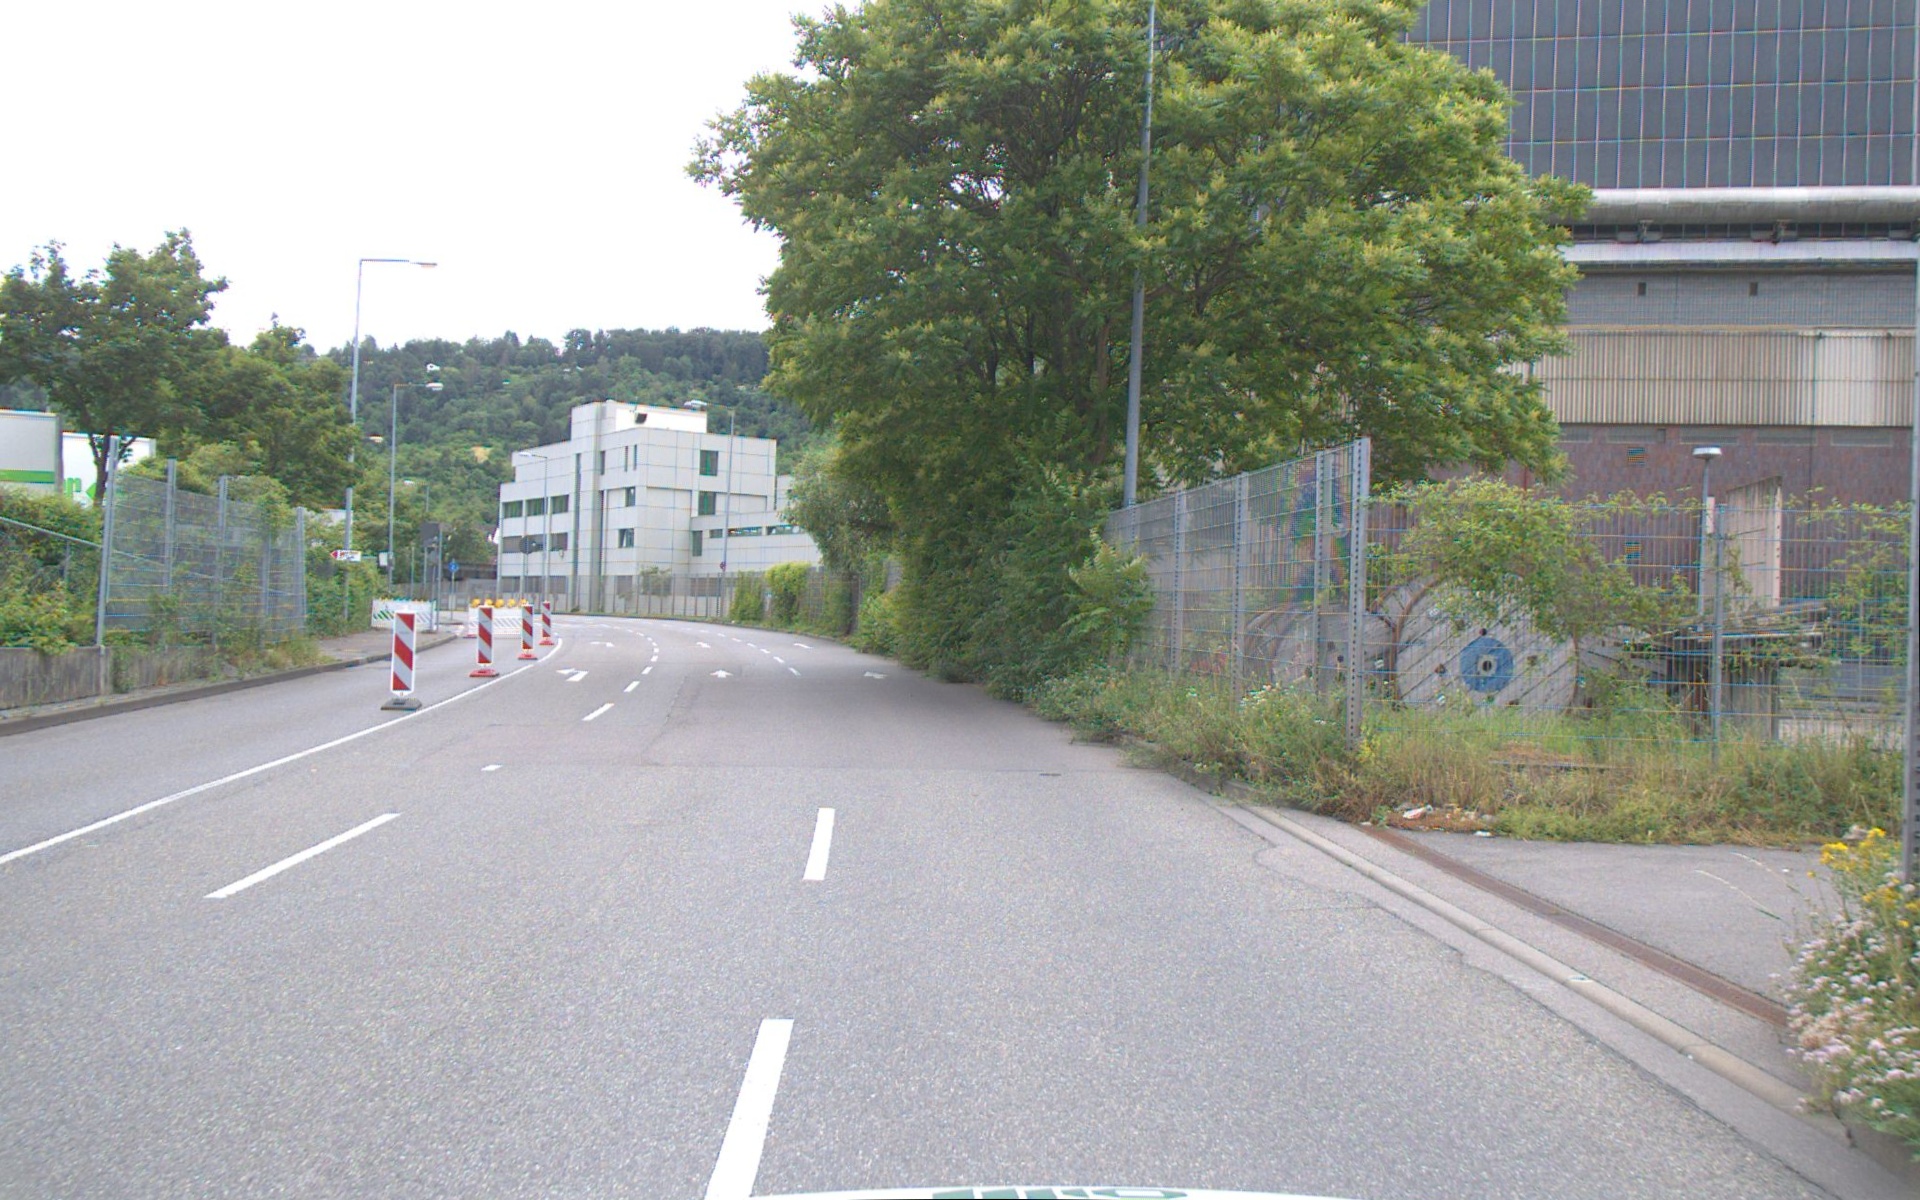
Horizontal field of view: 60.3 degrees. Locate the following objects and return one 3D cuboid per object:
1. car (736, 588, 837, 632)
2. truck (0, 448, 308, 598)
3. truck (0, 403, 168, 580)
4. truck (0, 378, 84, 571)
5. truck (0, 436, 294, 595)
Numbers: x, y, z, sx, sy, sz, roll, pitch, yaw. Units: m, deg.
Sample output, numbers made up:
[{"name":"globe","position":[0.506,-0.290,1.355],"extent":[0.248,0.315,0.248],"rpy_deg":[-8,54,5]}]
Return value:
[{"name":"car","position":[-10.027,0.565,95.215],"extent":[6.050,2.302,1.991],"rpy_deg":[1,-2,38]},{"name":"truck","position":[-25.588,-2.311,51.619],"extent":[9.476,4.061,3.035],"rpy_deg":[2,-2,-20]},{"name":"truck","position":[-22.240,-2.491,36.900],"extent":[7.776,3.601,3.014],"rpy_deg":[3,-3,-36]},{"name":"truck","position":[-21.696,-2.629,32.373],"extent":[7.765,3.601,3.018],"rpy_deg":[3,-3,-32]},{"name":"truck","position":[-23.894,-2.363,48.688],"extent":[7.728,4.061,3.033],"rpy_deg":[2,-2,-21]}]
